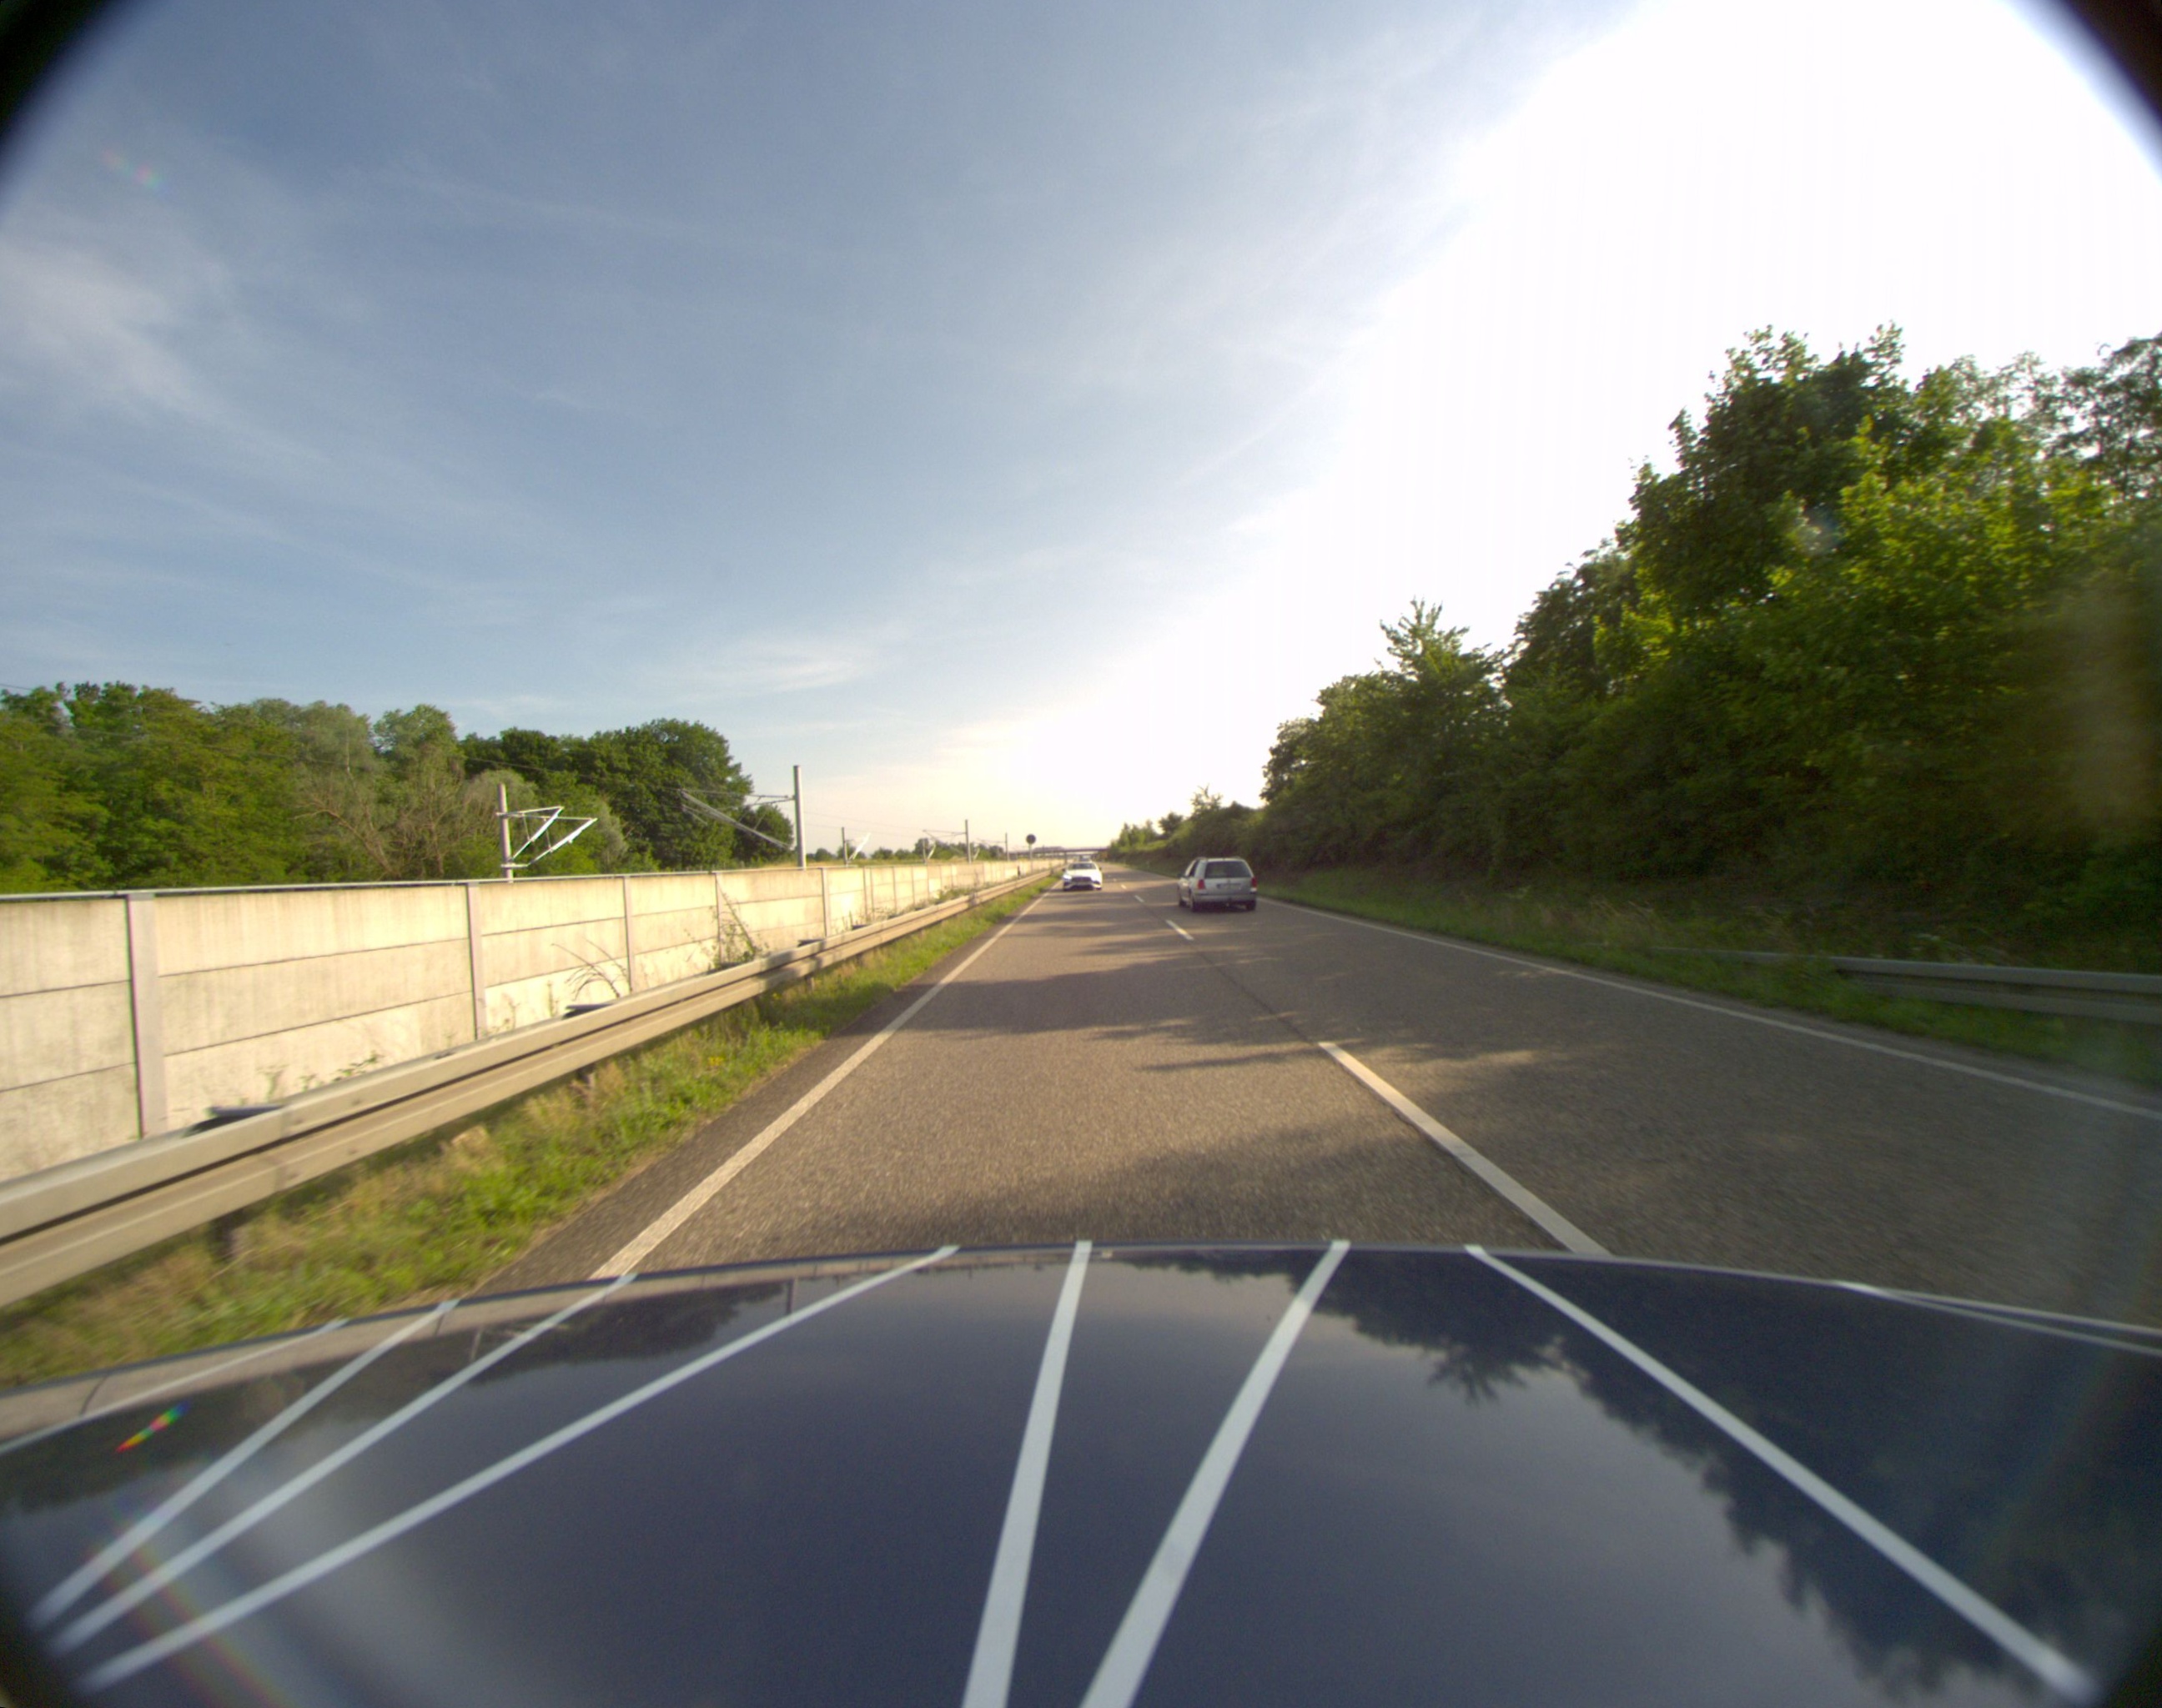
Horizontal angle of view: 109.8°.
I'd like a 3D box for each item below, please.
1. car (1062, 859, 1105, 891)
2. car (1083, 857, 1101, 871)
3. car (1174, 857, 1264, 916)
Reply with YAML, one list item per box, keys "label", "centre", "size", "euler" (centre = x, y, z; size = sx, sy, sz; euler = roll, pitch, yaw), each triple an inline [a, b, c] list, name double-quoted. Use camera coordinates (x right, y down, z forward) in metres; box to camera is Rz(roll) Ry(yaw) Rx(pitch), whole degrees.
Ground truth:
- label: "car"
  centre: [0.147, 1.006, 38.104]
  size: [1.952, 1.430, 4.612]
  euler: [-2, 0, 1]
- label: "car"
  centre: [1.216, 1.162, 85.956]
  size: [1.953, 1.430, 4.612]
  euler: [-3, 0, 1]
- label: "car"
  centre: [3.760, 0.832, 21.414]
  size: [1.724, 1.386, 4.360]
  euler: [-2, 0, 0]
